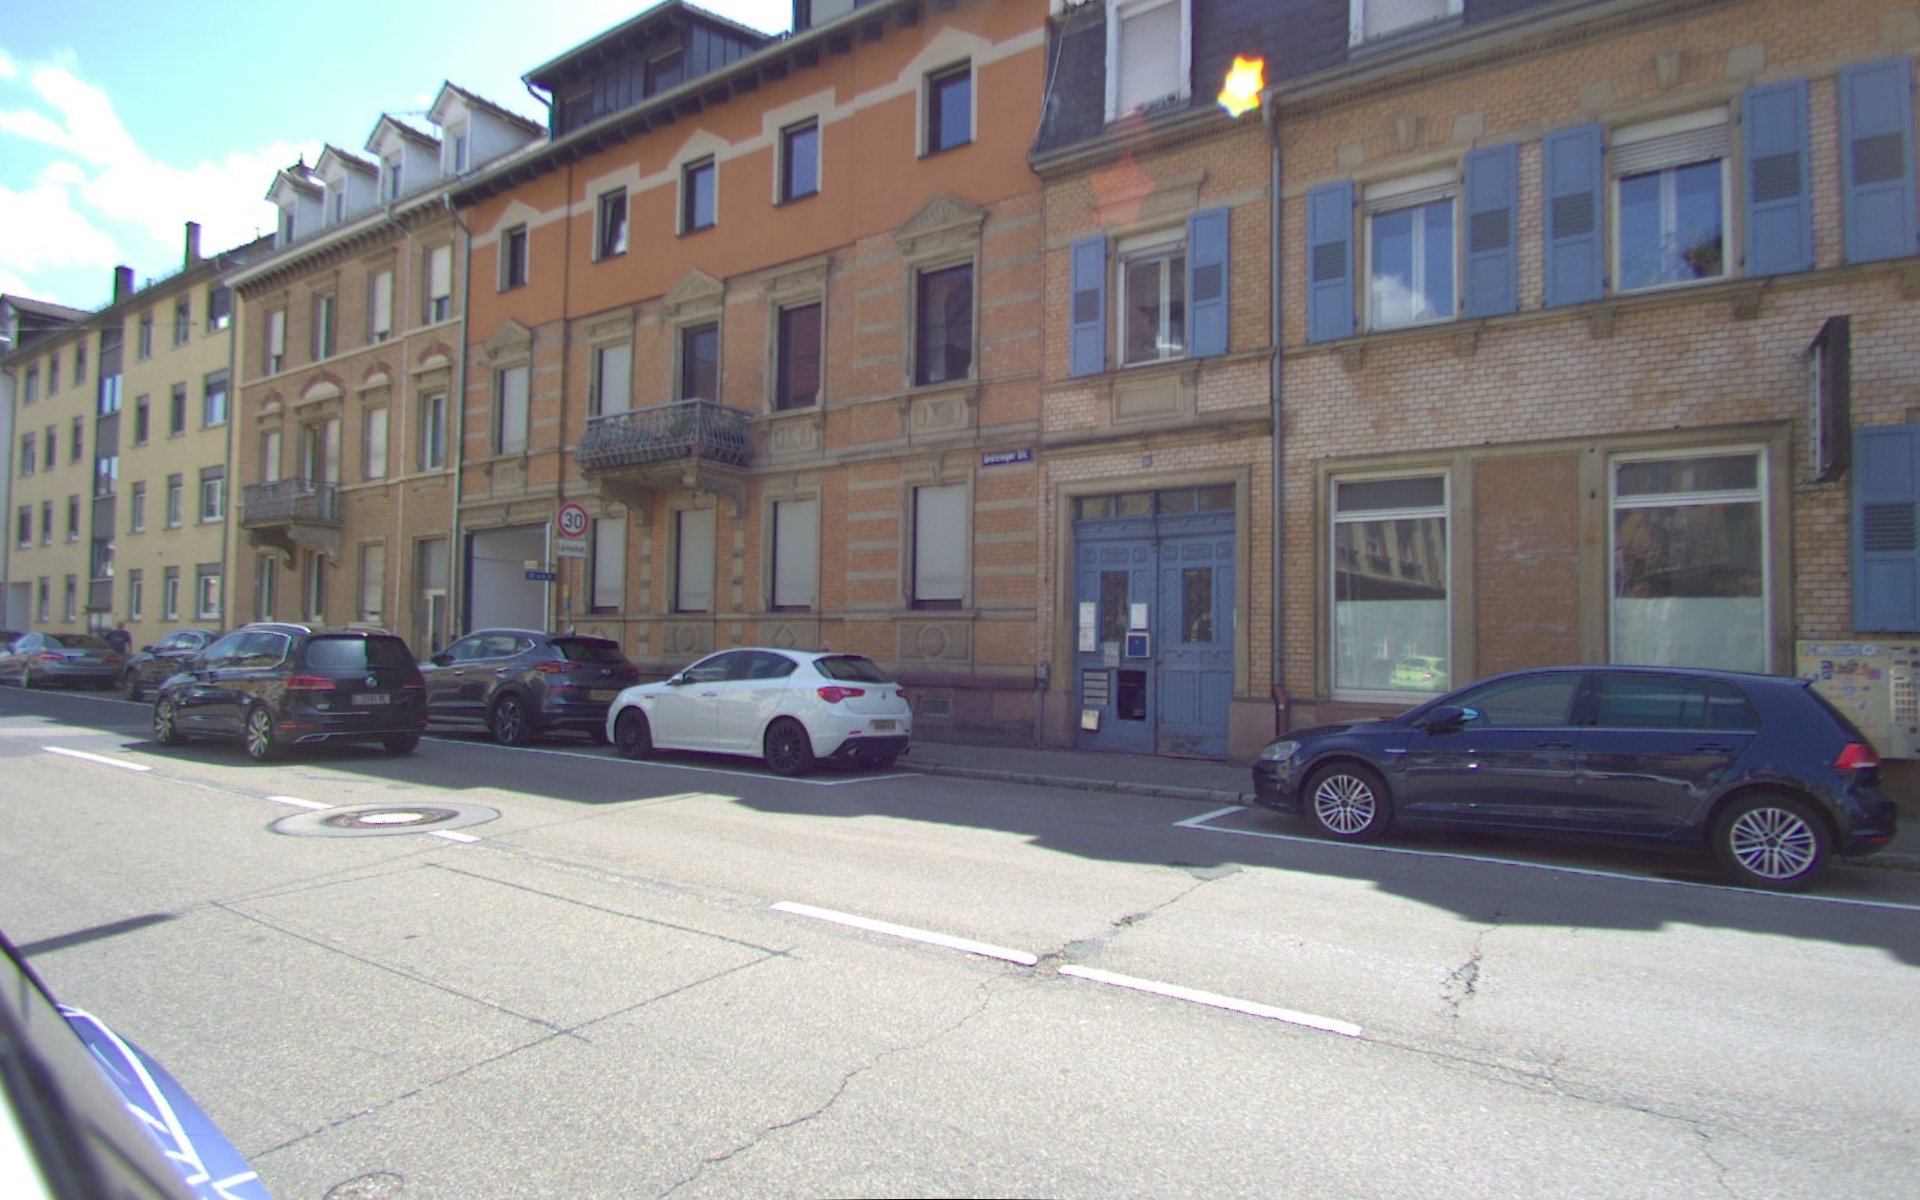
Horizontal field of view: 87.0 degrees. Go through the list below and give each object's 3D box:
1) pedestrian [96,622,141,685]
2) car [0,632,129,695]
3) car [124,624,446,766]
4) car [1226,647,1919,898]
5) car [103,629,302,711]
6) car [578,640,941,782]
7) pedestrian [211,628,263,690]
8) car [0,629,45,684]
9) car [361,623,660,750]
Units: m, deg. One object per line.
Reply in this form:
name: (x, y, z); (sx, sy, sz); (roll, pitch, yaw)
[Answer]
pedestrian: (-24.332, 1.546, 29.268); (0.875, 1.769, 0.794); (-2, -4, 41)
car: (-24.114, 1.660, 26.789); (4.673, 1.463, 1.889); (-1, -6, 34)
car: (-8.472, 1.087, 12.620); (4.232, 1.506, 1.746); (-1, -4, 33)
car: (4.471, 1.173, 7.872); (4.314, 1.417, 1.852); (0, -6, 30)
car: (-16.366, 1.489, 21.818); (4.486, 1.563, 1.850); (-1, -6, 32)
car: (-2.550, 1.304, 12.569); (4.318, 1.437, 1.850); (-1, -6, 33)
pedestrian: (-18.364, 1.484, 25.706); (0.874, 1.546, 0.795); (-1, -4, 38)
car: (-29.451, 1.642, 30.354); (4.301, 1.563, 1.850); (-1, -6, 33)
car: (-6.838, 1.255, 15.277); (4.486, 1.640, 1.850); (-1, -6, 32)
